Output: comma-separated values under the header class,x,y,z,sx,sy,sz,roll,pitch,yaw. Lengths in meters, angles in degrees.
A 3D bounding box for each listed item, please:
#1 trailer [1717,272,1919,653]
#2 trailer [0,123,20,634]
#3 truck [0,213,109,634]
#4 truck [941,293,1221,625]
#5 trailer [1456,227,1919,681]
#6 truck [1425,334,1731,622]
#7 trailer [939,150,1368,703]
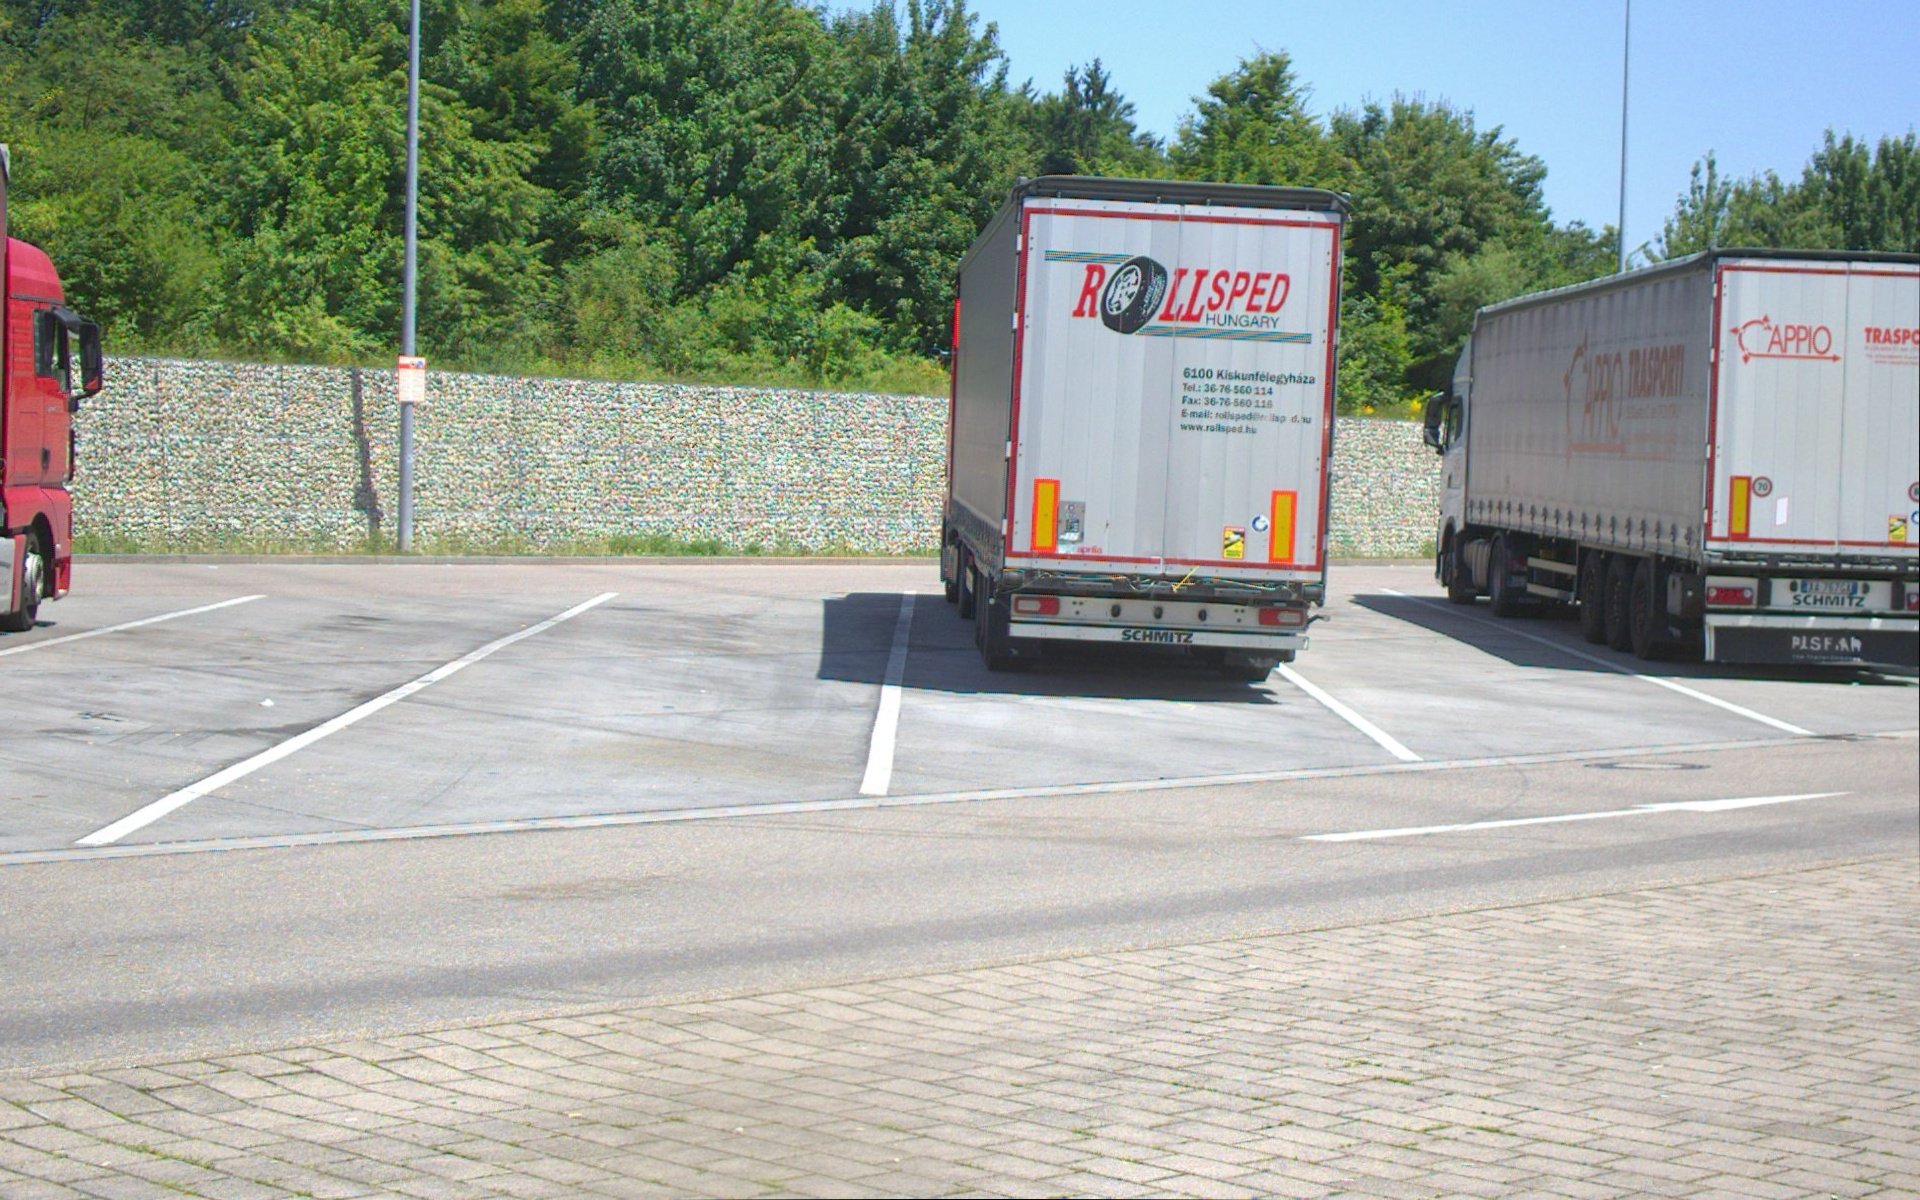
class,x,y,z,sx,sy,sz,roll,pitch,yaw
trailer,11.788,-1.542,39.437,2.838,4.118,13.724,2,3,-1
trailer,-9.152,-1.496,21.299,2.906,4.118,13.725,2,3,-1
truck,-9.242,-1.513,28.737,2.852,3.416,5.483,2,2,-1
truck,1.285,-1.640,39.808,2.852,3.472,5.483,2,2,-1
trailer,8.151,-1.639,38.685,2.838,4.118,13.724,2,3,-1
truck,8.058,-1.638,45.498,2.852,3.472,5.483,2,2,-1
trailer,1.434,-1.632,33.195,2.906,4.118,13.725,2,3,-1
